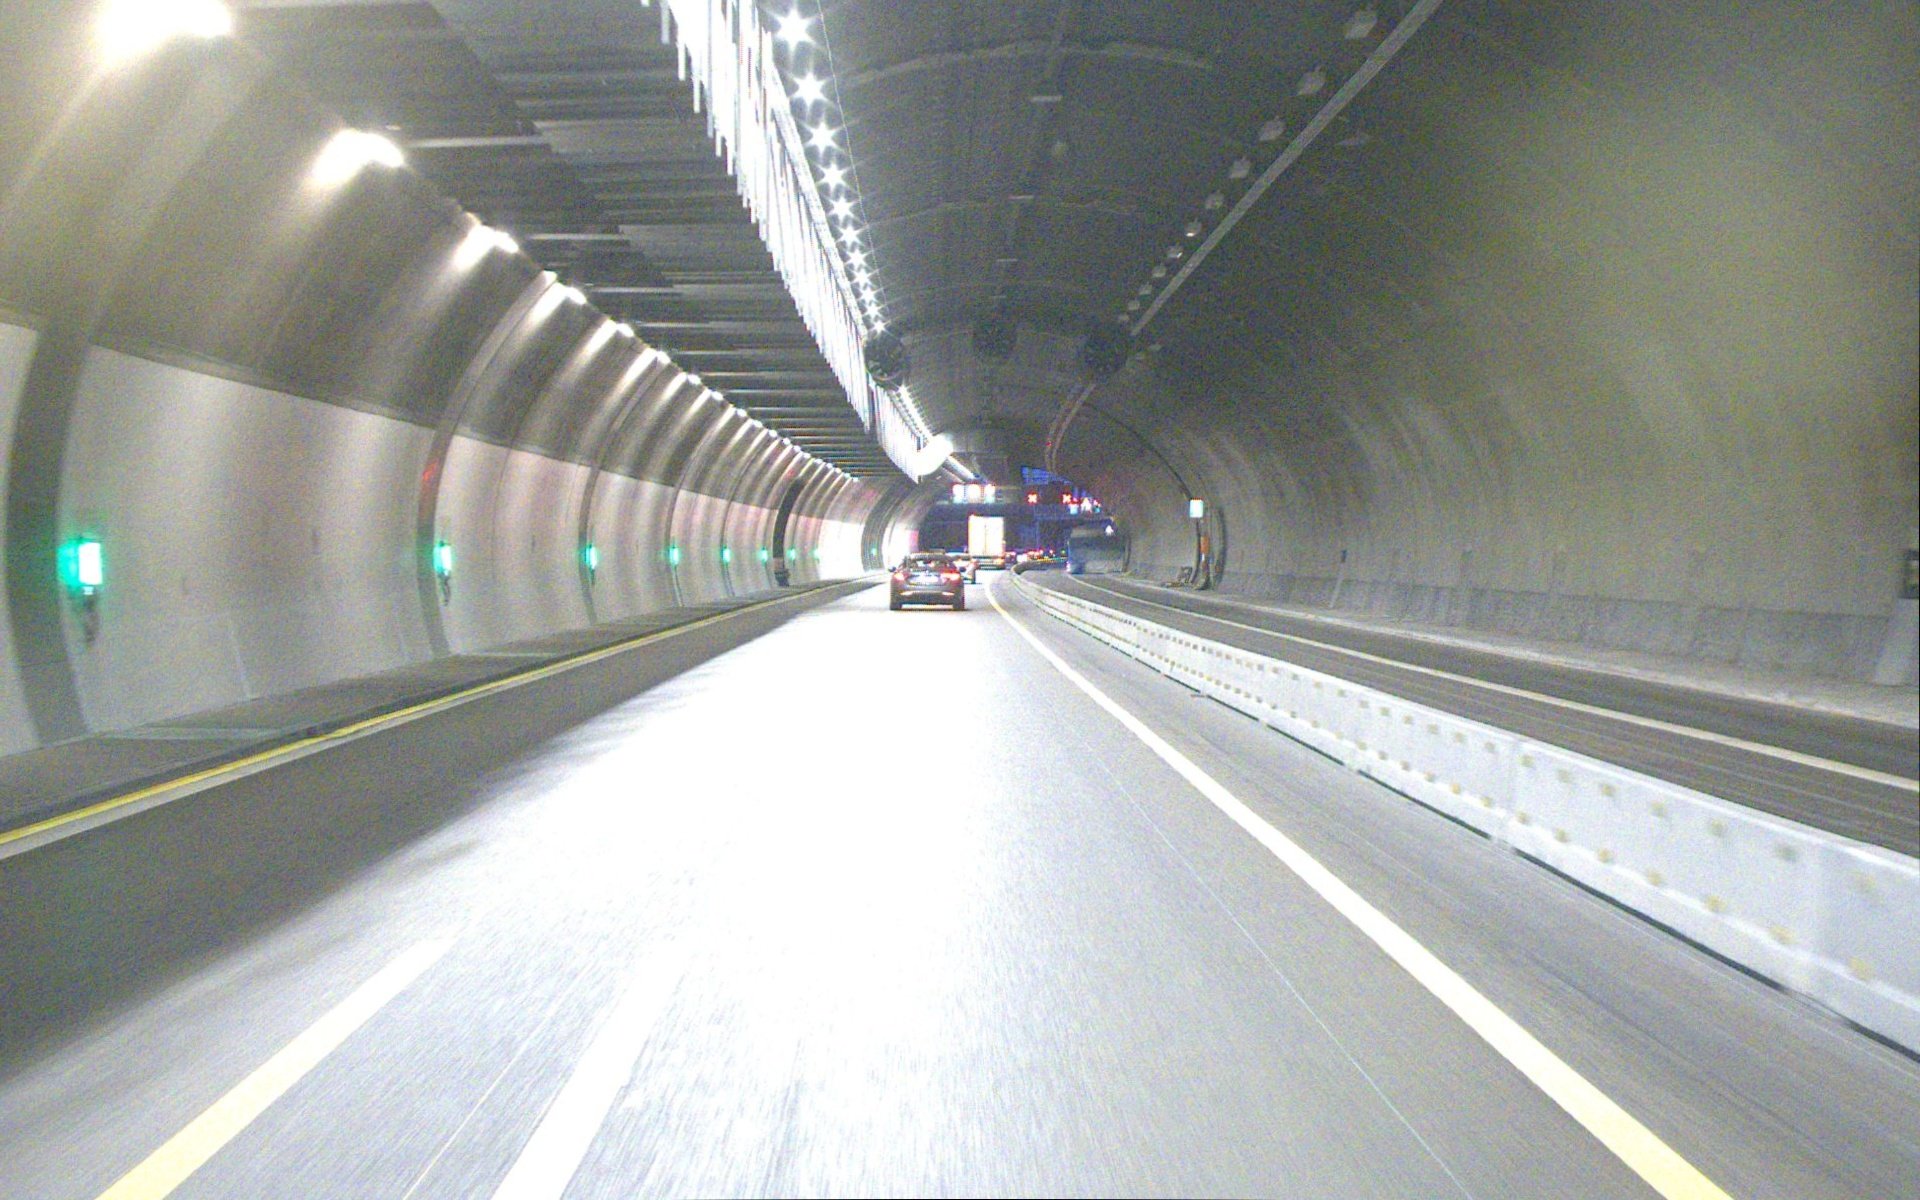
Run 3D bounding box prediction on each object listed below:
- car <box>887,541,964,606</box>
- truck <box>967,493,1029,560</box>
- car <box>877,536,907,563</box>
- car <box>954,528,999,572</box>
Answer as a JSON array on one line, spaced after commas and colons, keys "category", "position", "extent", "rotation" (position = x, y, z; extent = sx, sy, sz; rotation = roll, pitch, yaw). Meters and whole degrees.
[{"category": "car", "position": [-0.897, -0.680, 86.991], "extent": [1.887, 1.601, 4.000], "rotation": [0, 1, -1]}, {"category": "truck", "position": [2.916, -5.553, 261.798], "extent": [4.546, 4.970, 9.599], "rotation": [0, 1, 1]}, {"category": "car", "position": [-4.173, -3.083, 209.834], "extent": [1.827, 1.601, 4.000], "rotation": [0, 1, -1]}, {"category": "car", "position": [0.744, -2.296, 157.892], "extent": [1.993, 2.007, 4.000], "rotation": [0, 1, 0]}]
